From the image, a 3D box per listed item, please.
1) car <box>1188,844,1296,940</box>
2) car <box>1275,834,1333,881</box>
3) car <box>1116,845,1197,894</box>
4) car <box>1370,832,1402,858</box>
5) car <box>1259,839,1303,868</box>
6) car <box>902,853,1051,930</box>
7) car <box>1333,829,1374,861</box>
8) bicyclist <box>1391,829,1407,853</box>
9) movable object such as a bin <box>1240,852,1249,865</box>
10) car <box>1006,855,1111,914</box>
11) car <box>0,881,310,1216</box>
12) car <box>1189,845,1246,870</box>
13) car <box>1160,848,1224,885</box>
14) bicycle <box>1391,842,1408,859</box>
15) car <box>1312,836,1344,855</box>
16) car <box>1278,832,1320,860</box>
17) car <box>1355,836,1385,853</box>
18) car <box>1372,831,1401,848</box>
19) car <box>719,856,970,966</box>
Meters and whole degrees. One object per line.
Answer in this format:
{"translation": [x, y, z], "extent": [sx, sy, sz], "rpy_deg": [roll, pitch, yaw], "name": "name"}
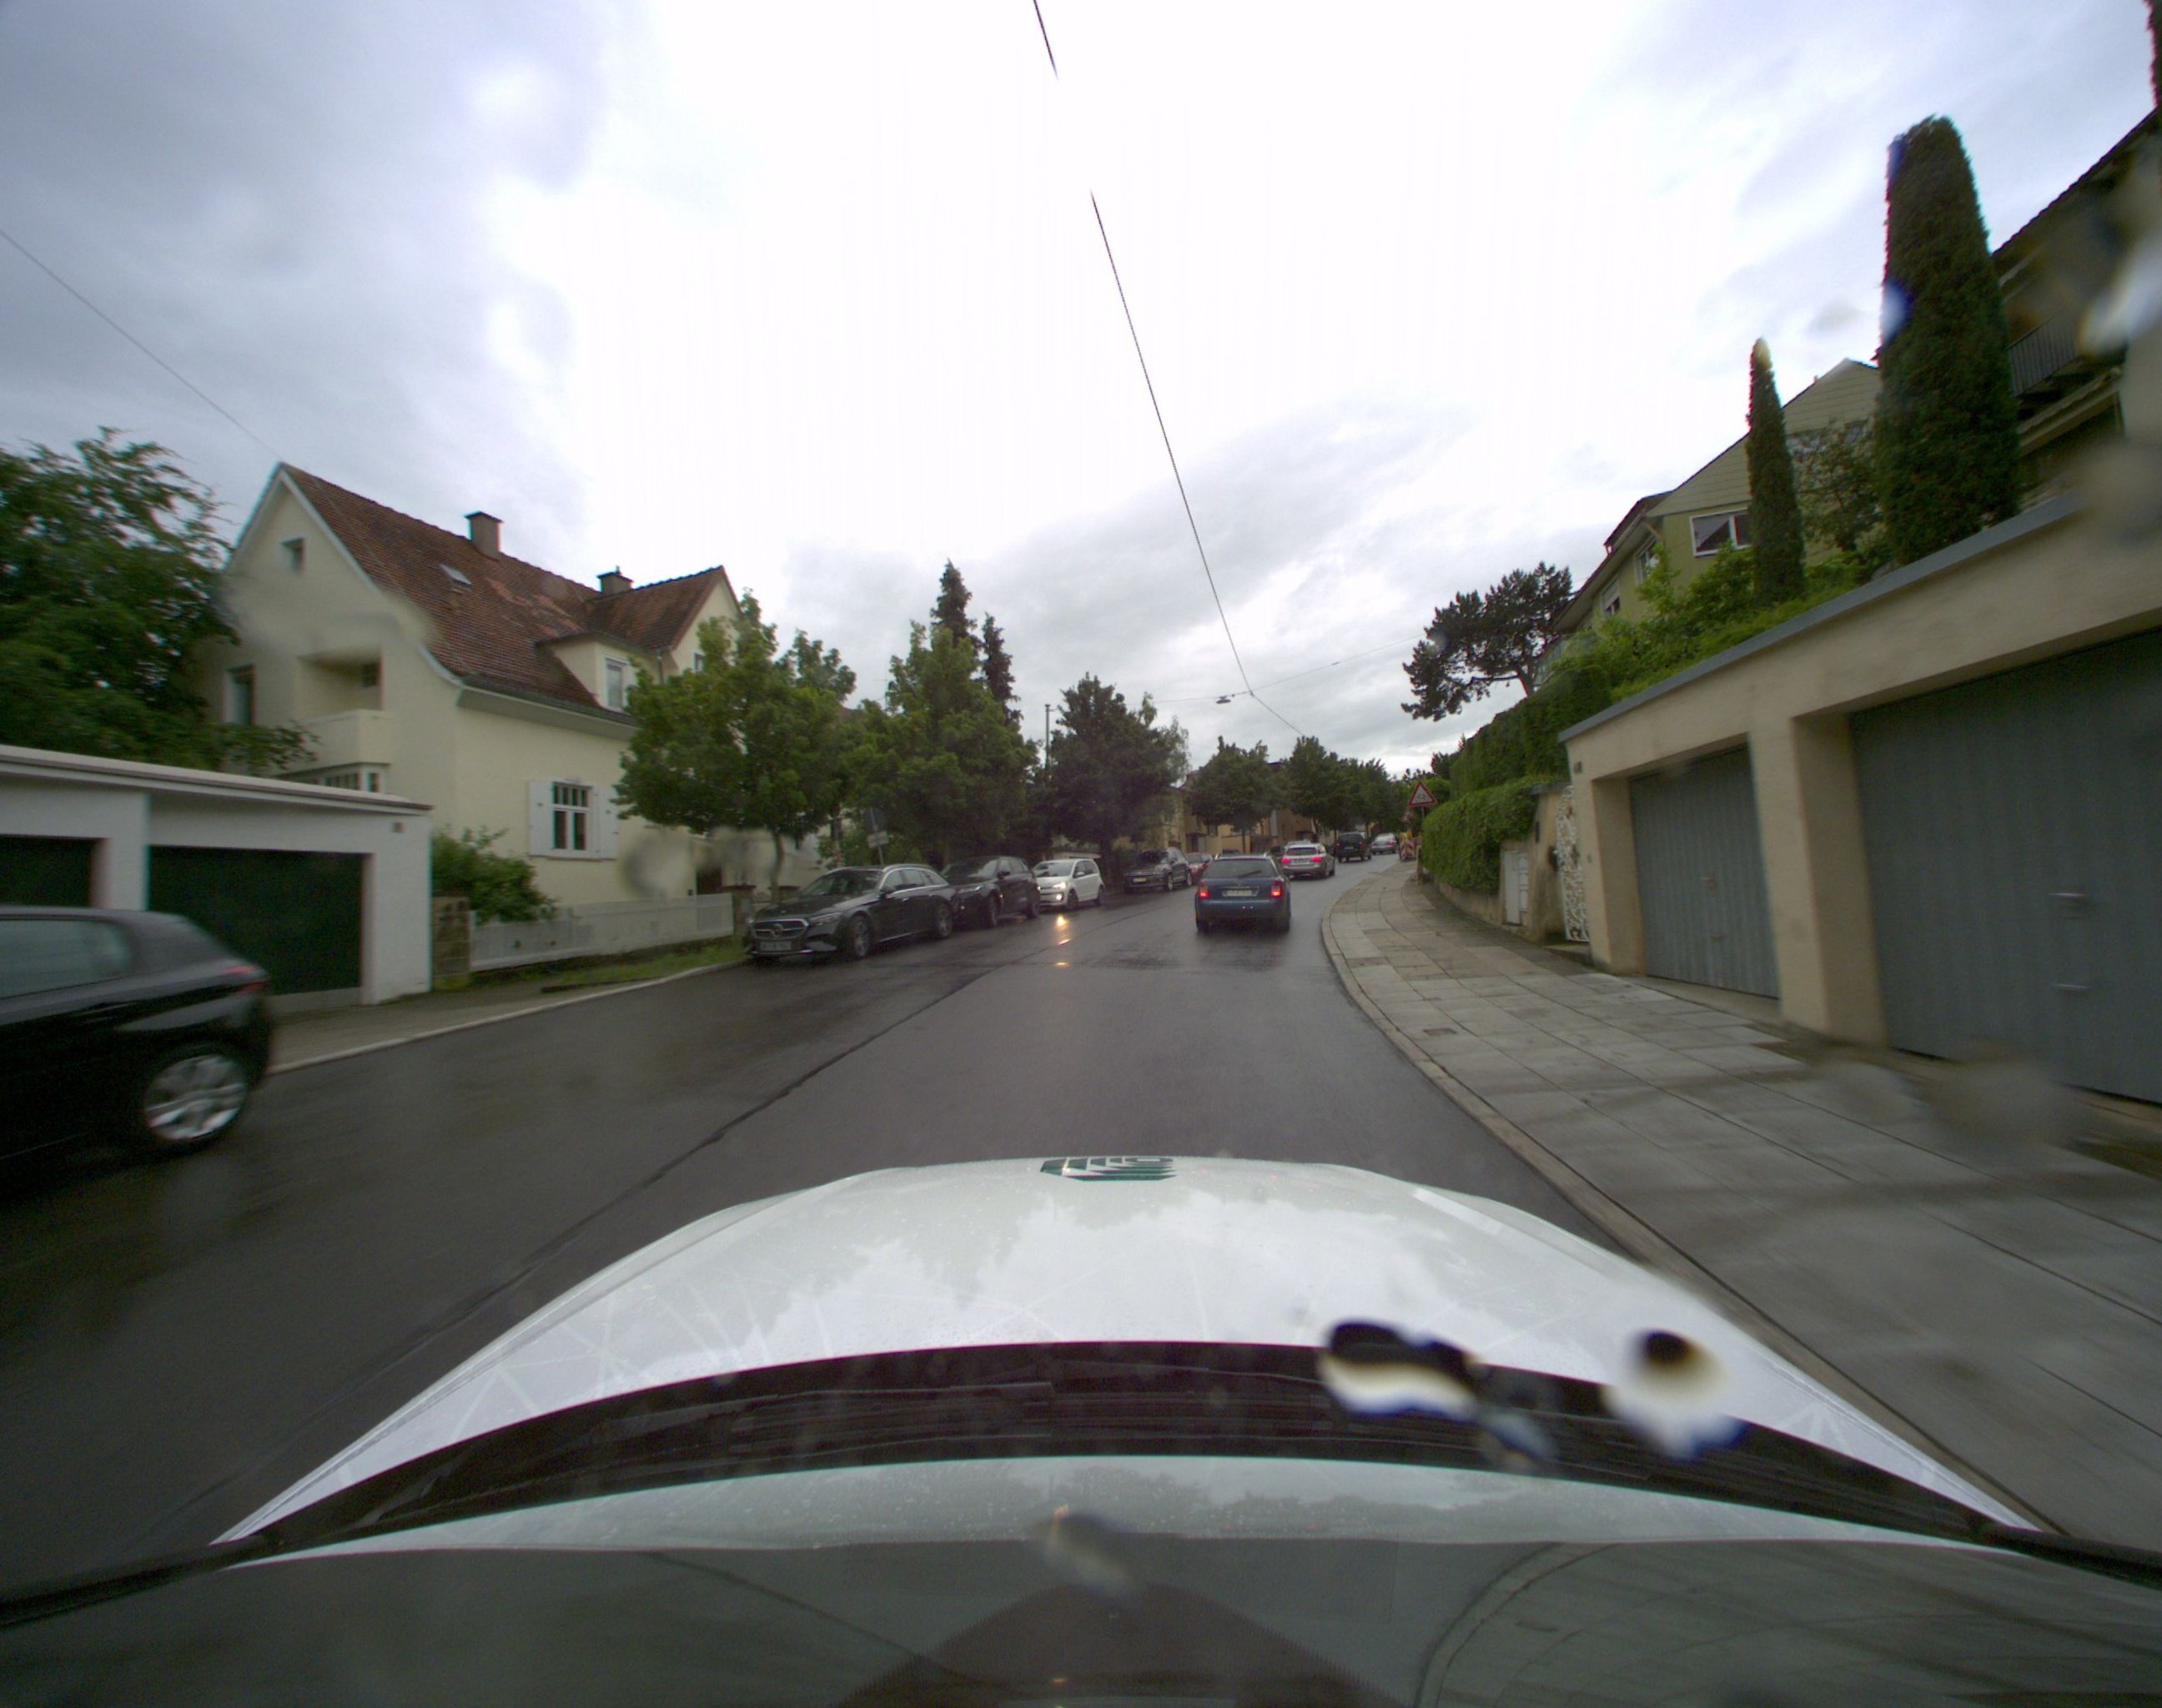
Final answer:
{"translation": [3.325, 0.661, 16.220], "extent": [1.720, 1.466, 4.018], "rpy_deg": [-3, 2, 16], "name": "car"}
{"translation": [9.503, 0.106, 34.457], "extent": [1.959, 1.634, 4.257], "rpy_deg": [-3, 2, 20], "name": "car"}
{"translation": [3.074, 0.578, 32.424], "extent": [1.785, 1.669, 4.451], "rpy_deg": [-5, -1, 23], "name": "car"}
{"translation": [24.036, -0.727, 64.118], "extent": [1.717, 1.768, 4.262], "rpy_deg": [-2, 2, 28], "name": "car"}
{"translation": [13.230, -0.056, 53.665], "extent": [1.752, 1.535, 4.633], "rpy_deg": [-7, -1, 26], "name": "car"}
{"translation": [-2.313, 0.812, 19.245], "extent": [1.719, 1.545, 4.230], "rpy_deg": [-3, -1, 19], "name": "car"}
{"translation": [17.525, -0.631, 52.257], "extent": [1.717, 1.768, 4.262], "rpy_deg": [-2, 2, 28], "name": "car"}
{"translation": [20.071, -0.835, 51.363], "extent": [0.718, 1.472, 0.892], "rpy_deg": [-4, 0, 30], "name": "bicyclist"}
{"translation": [13.577, 0.409, 67.606], "extent": [0.581, 1.023, 0.589], "rpy_deg": [-4, 0, 26], "name": "movable object such as a bin"}
{"translation": [-0.555, 0.833, 23.904], "extent": [1.719, 1.466, 4.020], "rpy_deg": [-3, 0, 19], "name": "car"}
{"translation": [-5.718, 0.940, 3.174], "extent": [1.665, 1.466, 3.893], "rpy_deg": [-3, 0, -1], "name": "car"}
{"translation": [11.026, 0.273, 65.893], "extent": [4.014, 1.646, 1.875], "rpy_deg": [-5, -1, 29], "name": "car"}
{"translation": [5.113, 0.538, 37.076], "extent": [1.666, 1.471, 3.888], "rpy_deg": [-5, -1, 25], "name": "car"}
{"translation": [20.100, -0.245, 51.353], "extent": [0.723, 0.964, 1.681], "rpy_deg": [-4, 0, 30], "name": "bicycle"}
{"translation": [22.324, -0.775, 73.481], "extent": [1.751, 1.436, 4.374], "rpy_deg": [-7, -1, 29], "name": "car"}
{"translation": [15.714, -0.580, 58.644], "extent": [1.751, 1.634, 4.135], "rpy_deg": [-9, -2, 29], "name": "car"}
{"translation": [29.638, -0.989, 83.387], "extent": [1.751, 1.387, 4.664], "rpy_deg": [-7, 0, 32], "name": "car"}
{"translation": [33.482, -1.624, 89.188], "extent": [1.751, 1.627, 4.720], "rpy_deg": [-7, -2, 34], "name": "car"}
{"translation": [-3.875, 0.875, 14.457], "extent": [1.852, 1.545, 4.926], "rpy_deg": [-3, -1, 16], "name": "car"}
